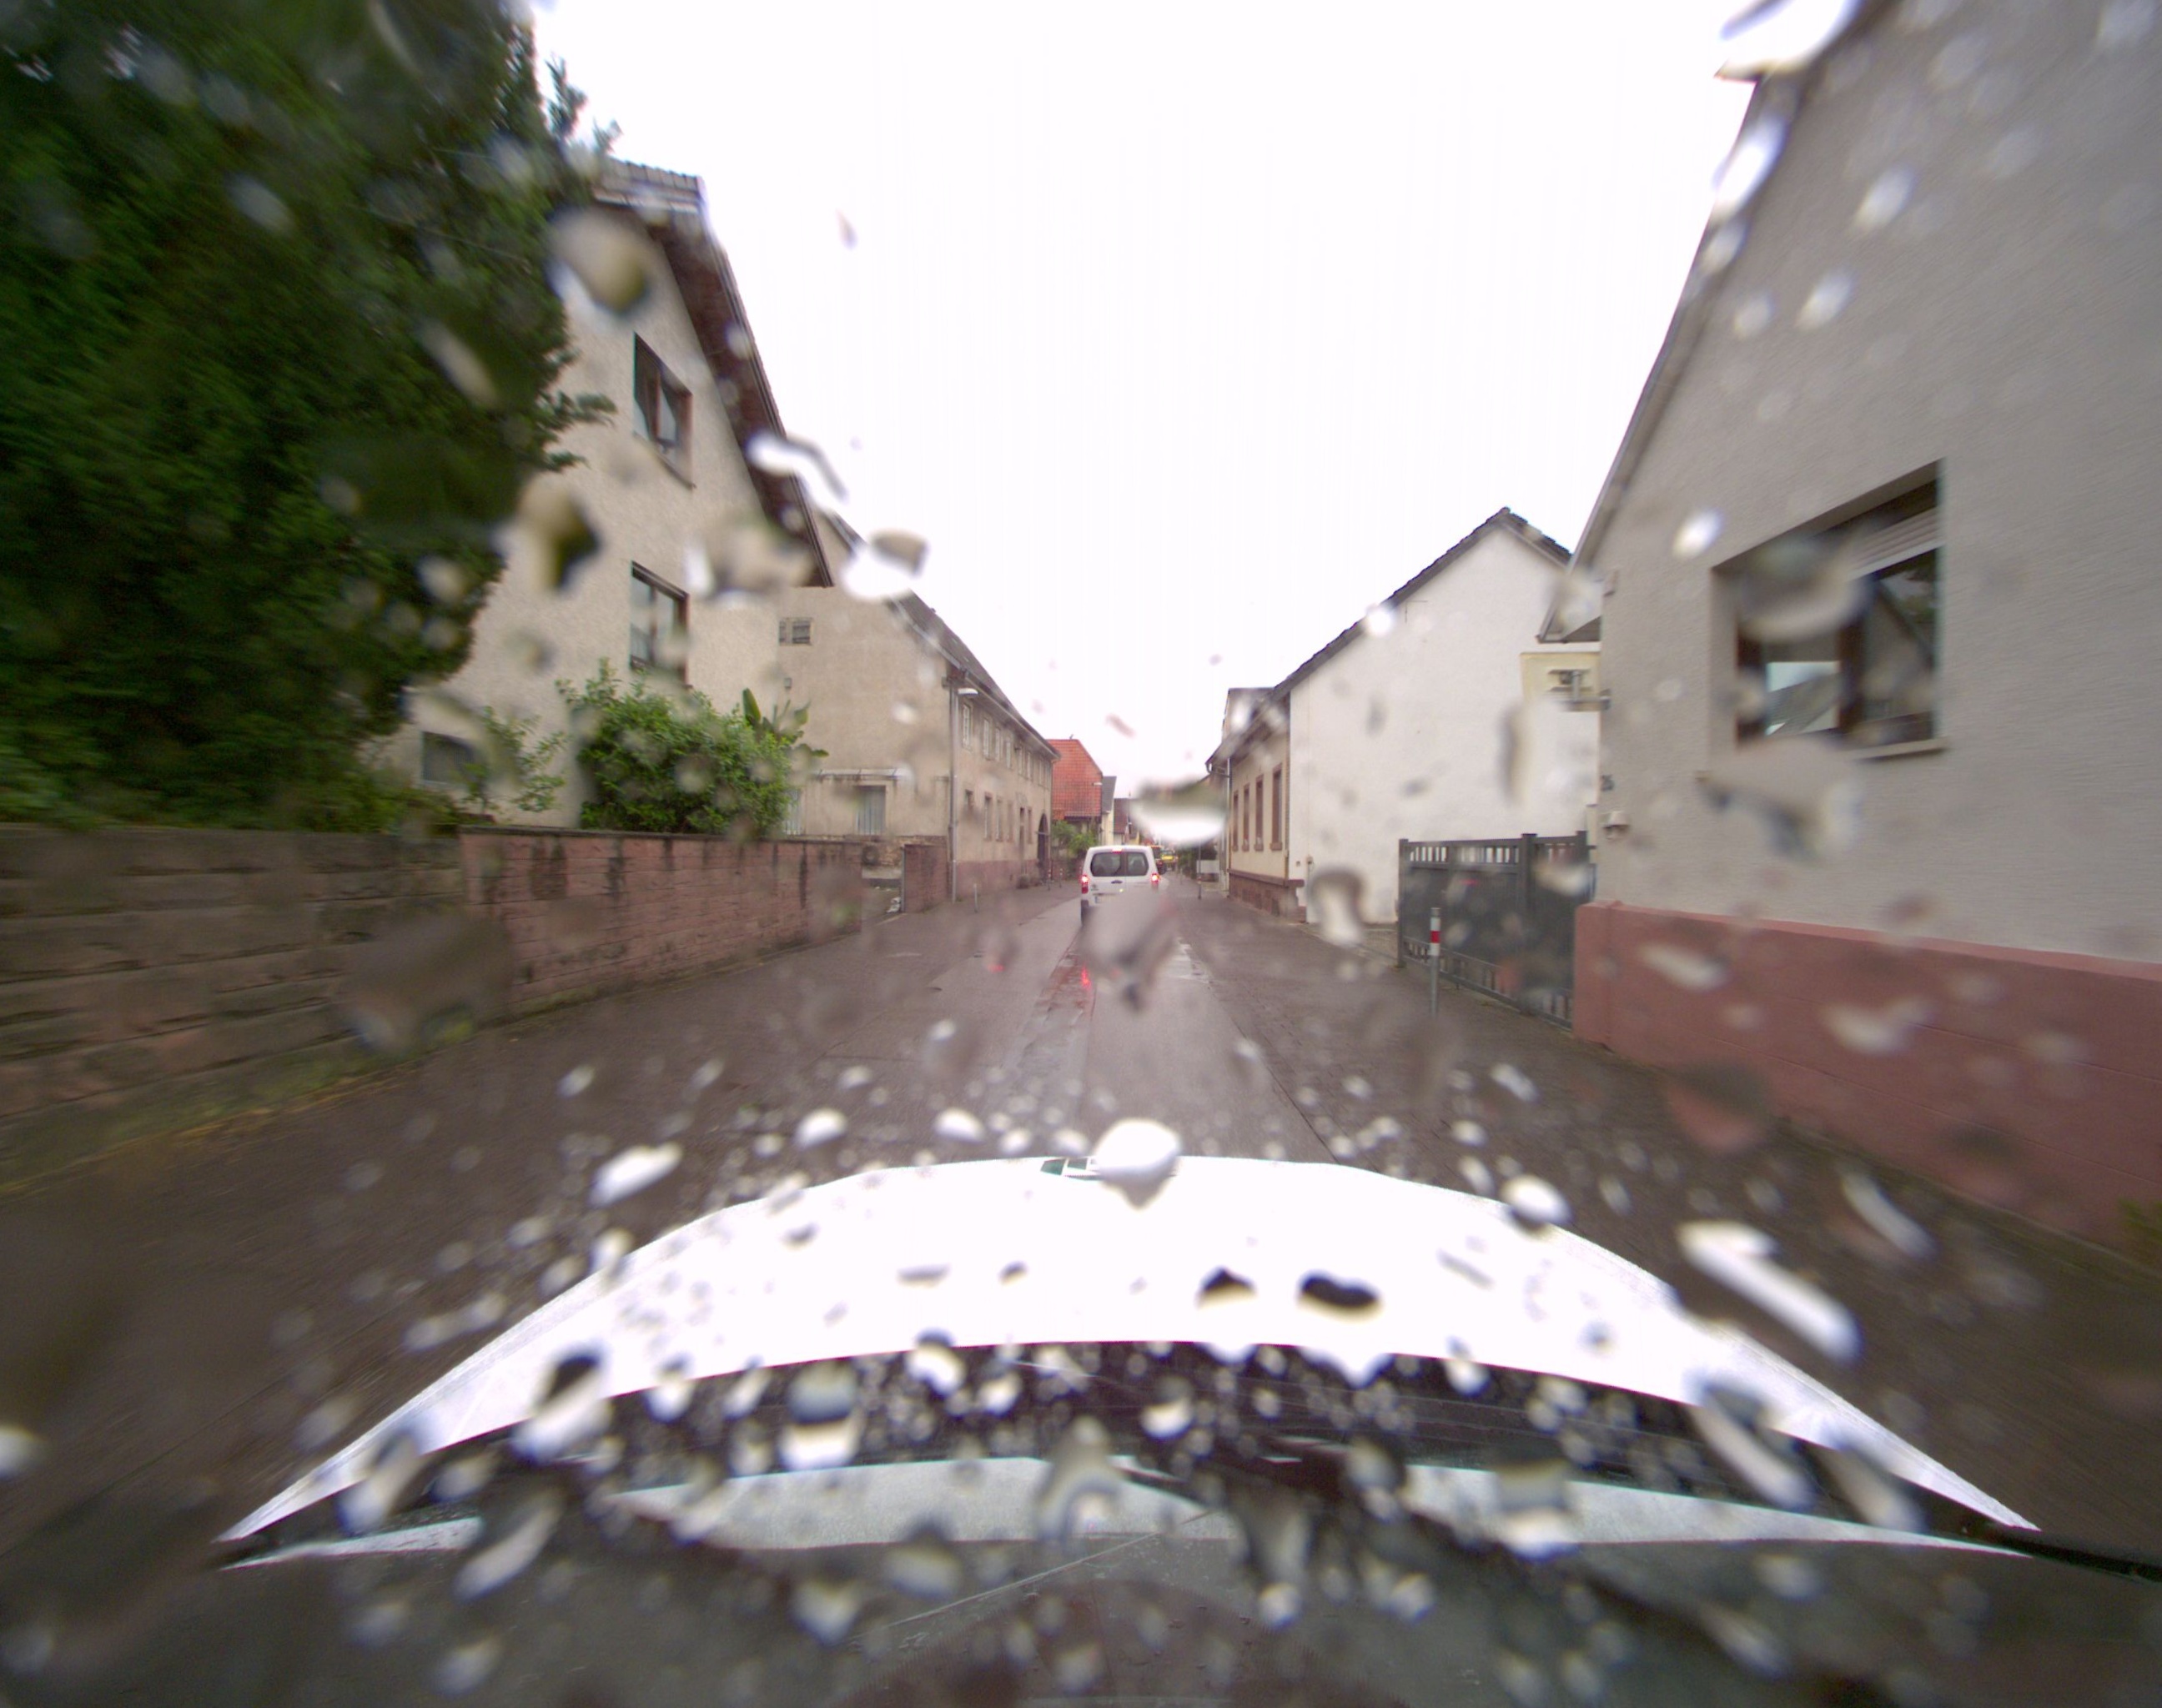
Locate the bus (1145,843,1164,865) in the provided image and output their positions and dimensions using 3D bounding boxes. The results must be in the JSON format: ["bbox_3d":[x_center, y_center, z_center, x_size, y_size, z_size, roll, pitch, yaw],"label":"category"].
[{"bbox_3d":[12.186,0.037,134.808,2.779,3.329,8.191,2,-1,6],"label":"bus"}]

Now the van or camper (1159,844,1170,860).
[{"bbox_3d":[16.418,-0.308,159.353,1.825,2.926,5.374,2,-1,8],"label":"van or camper"}]

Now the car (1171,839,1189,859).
[{"bbox_3d":[10.916,-0.528,89.743,1.818,2.014,3.700,2,-1,6],"label":"car"}]

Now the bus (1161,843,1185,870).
[{"bbox_3d":[11.371,0.372,100.859,2.779,3.180,8.191,2,-1,6],"label":"bus"}]

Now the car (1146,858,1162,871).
[{"bbox_3d":[8.088,1.215,90.068,1.553,1.371,3.591,2,-1,7],"label":"car"}]

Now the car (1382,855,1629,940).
[{"bbox_3d":[8.169,0.819,15.928,3.885,1.498,1.850,1,-1,-2],"label":"car"}]

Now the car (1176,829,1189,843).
[{"bbox_3d":[16.054,-2.781,128.575,1.983,2.014,4.008,2,-1,7],"label":"car"}]

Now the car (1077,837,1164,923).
[{"bbox_3d":[1.047,0.593,19.463,1.786,1.819,4.108,-1,-1,6],"label":"car"}]

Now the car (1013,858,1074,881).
[{"bbox_3d":[-2.327,0.963,50.507,3.507,1.376,1.598,1,0,8],"label":"car"}]

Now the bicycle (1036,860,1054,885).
[{"bbox_3d":[-1.765,0.920,40.010,0.480,1.180,1.839,2,-1,8],"label":"bicycle"}]
